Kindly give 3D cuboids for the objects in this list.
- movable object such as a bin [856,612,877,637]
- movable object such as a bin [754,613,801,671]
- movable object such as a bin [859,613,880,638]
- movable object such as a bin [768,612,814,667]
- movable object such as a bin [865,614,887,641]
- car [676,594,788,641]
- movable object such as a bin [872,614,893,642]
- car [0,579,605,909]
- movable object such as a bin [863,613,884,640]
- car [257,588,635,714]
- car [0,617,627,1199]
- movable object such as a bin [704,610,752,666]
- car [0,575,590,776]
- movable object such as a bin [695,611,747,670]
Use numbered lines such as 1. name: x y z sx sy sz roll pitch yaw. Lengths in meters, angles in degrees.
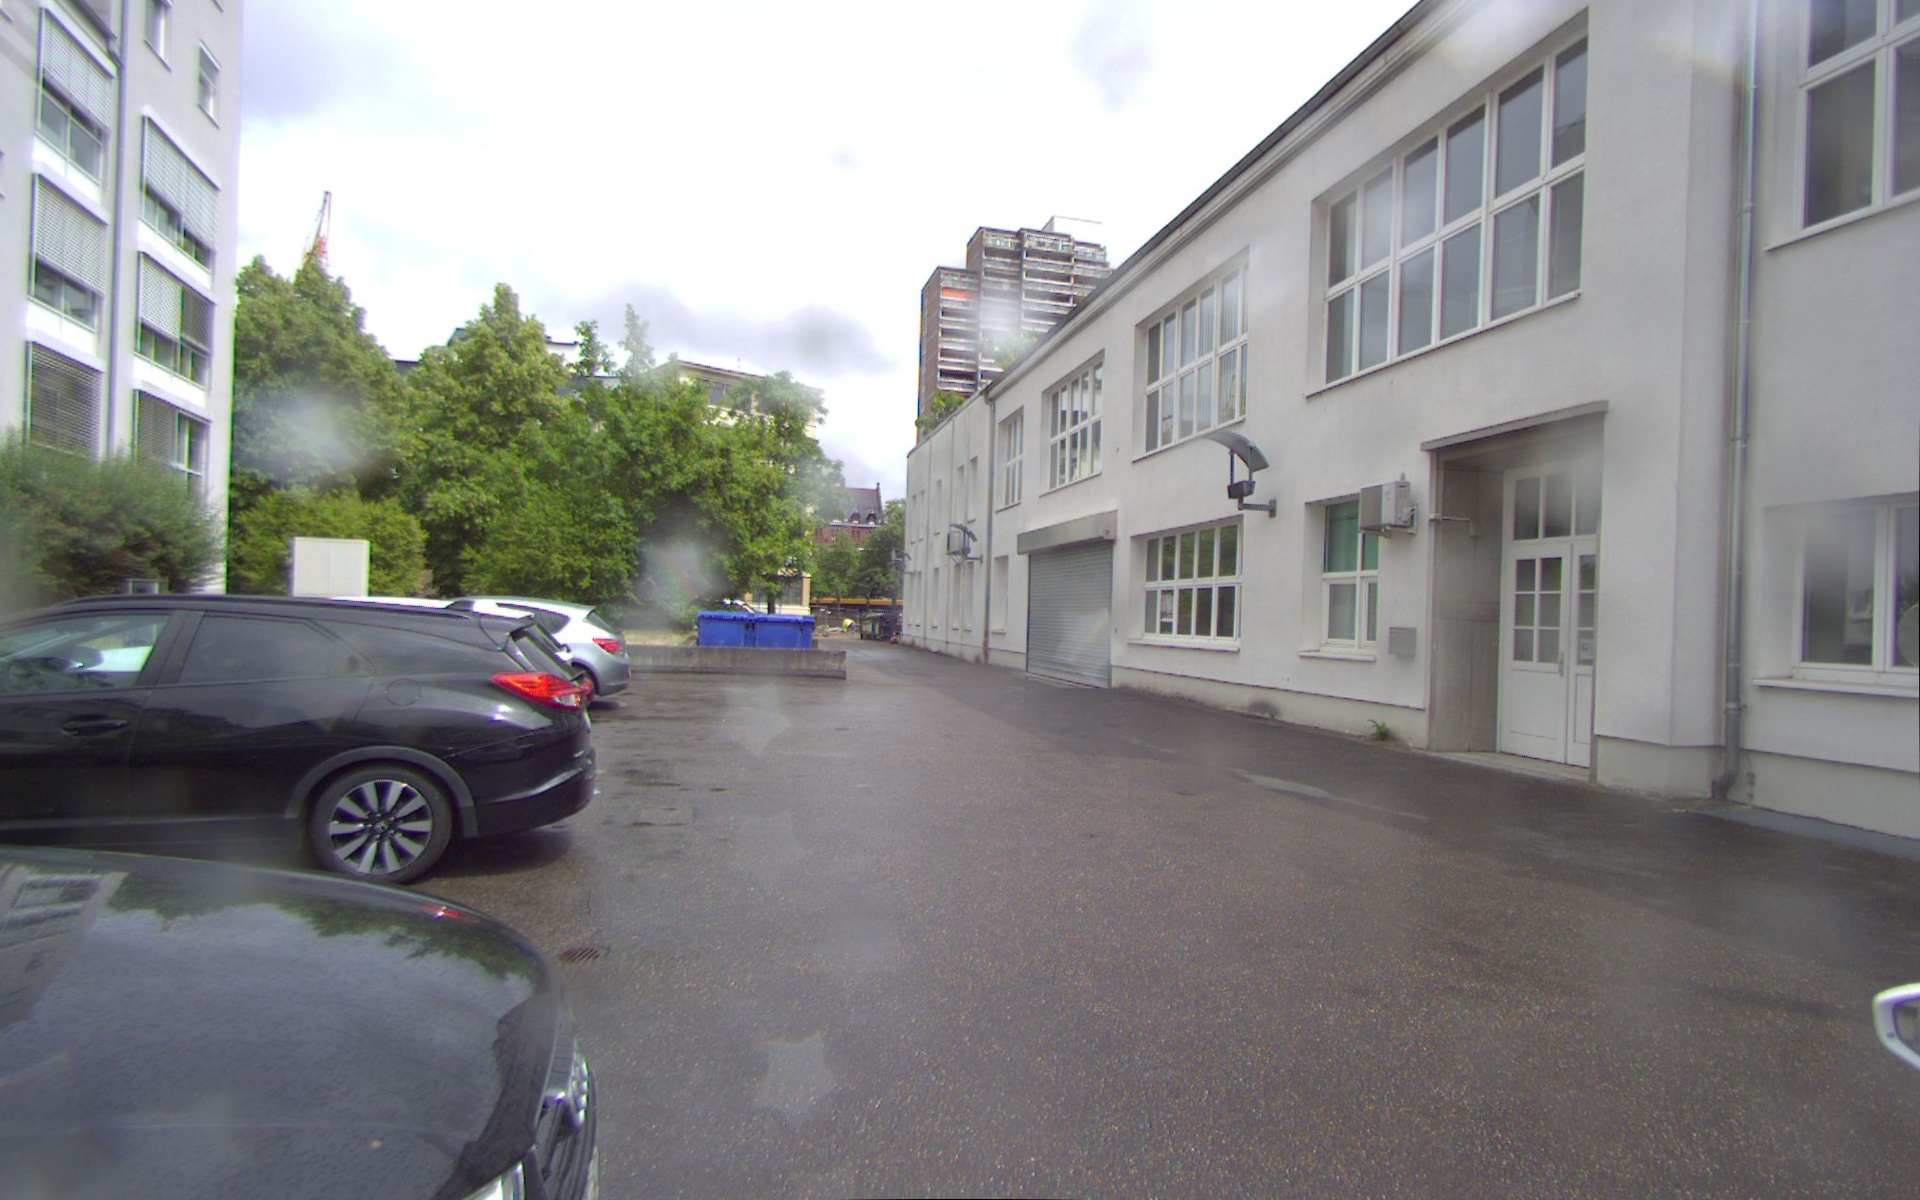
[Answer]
1. movable object such as a bin: -5.323 1.415 57.251 1.047 1.374 1.262 2 0 -10
2. movable object such as a bin: -4.421 1.003 24.342 1.076 1.343 1.206 2 0 -10
3. movable object such as a bin: -5.023 1.420 55.913 1.047 1.374 1.262 2 0 -10
4. movable object such as a bin: -4.410 1.017 26.165 1.111 1.346 1.206 2 0 -10
5. movable object such as a bin: -4.436 1.430 53.022 1.027 1.374 1.205 1 0 -10
6. car: -9.198 0.686 40.724 4.255 1.750 1.720 2 0 -9
7. movable object such as a bin: -3.982 1.439 51.397 0.961 1.374 0.917 1 0 -10
8. car: -4.234 0.679 5.506 4.251 1.461 1.755 3 -1 -20
9. movable object such as a bin: -4.684 1.426 54.374 1.044 1.374 1.216 2 0 -10
10. car: -6.688 0.691 13.614 4.251 1.461 1.755 3 -1 -20
11. car: -2.747 0.679 1.105 4.459 1.370 1.755 3 -1 -19
12. movable object such as a bin: -5.923 0.958 25.710 1.111 1.346 1.206 2 0 -10
13. car: -5.450 0.649 8.728 4.061 1.462 1.689 3 0 -19
14. movable object such as a bin: -5.703 0.960 24.047 1.111 1.346 1.206 2 0 -10
